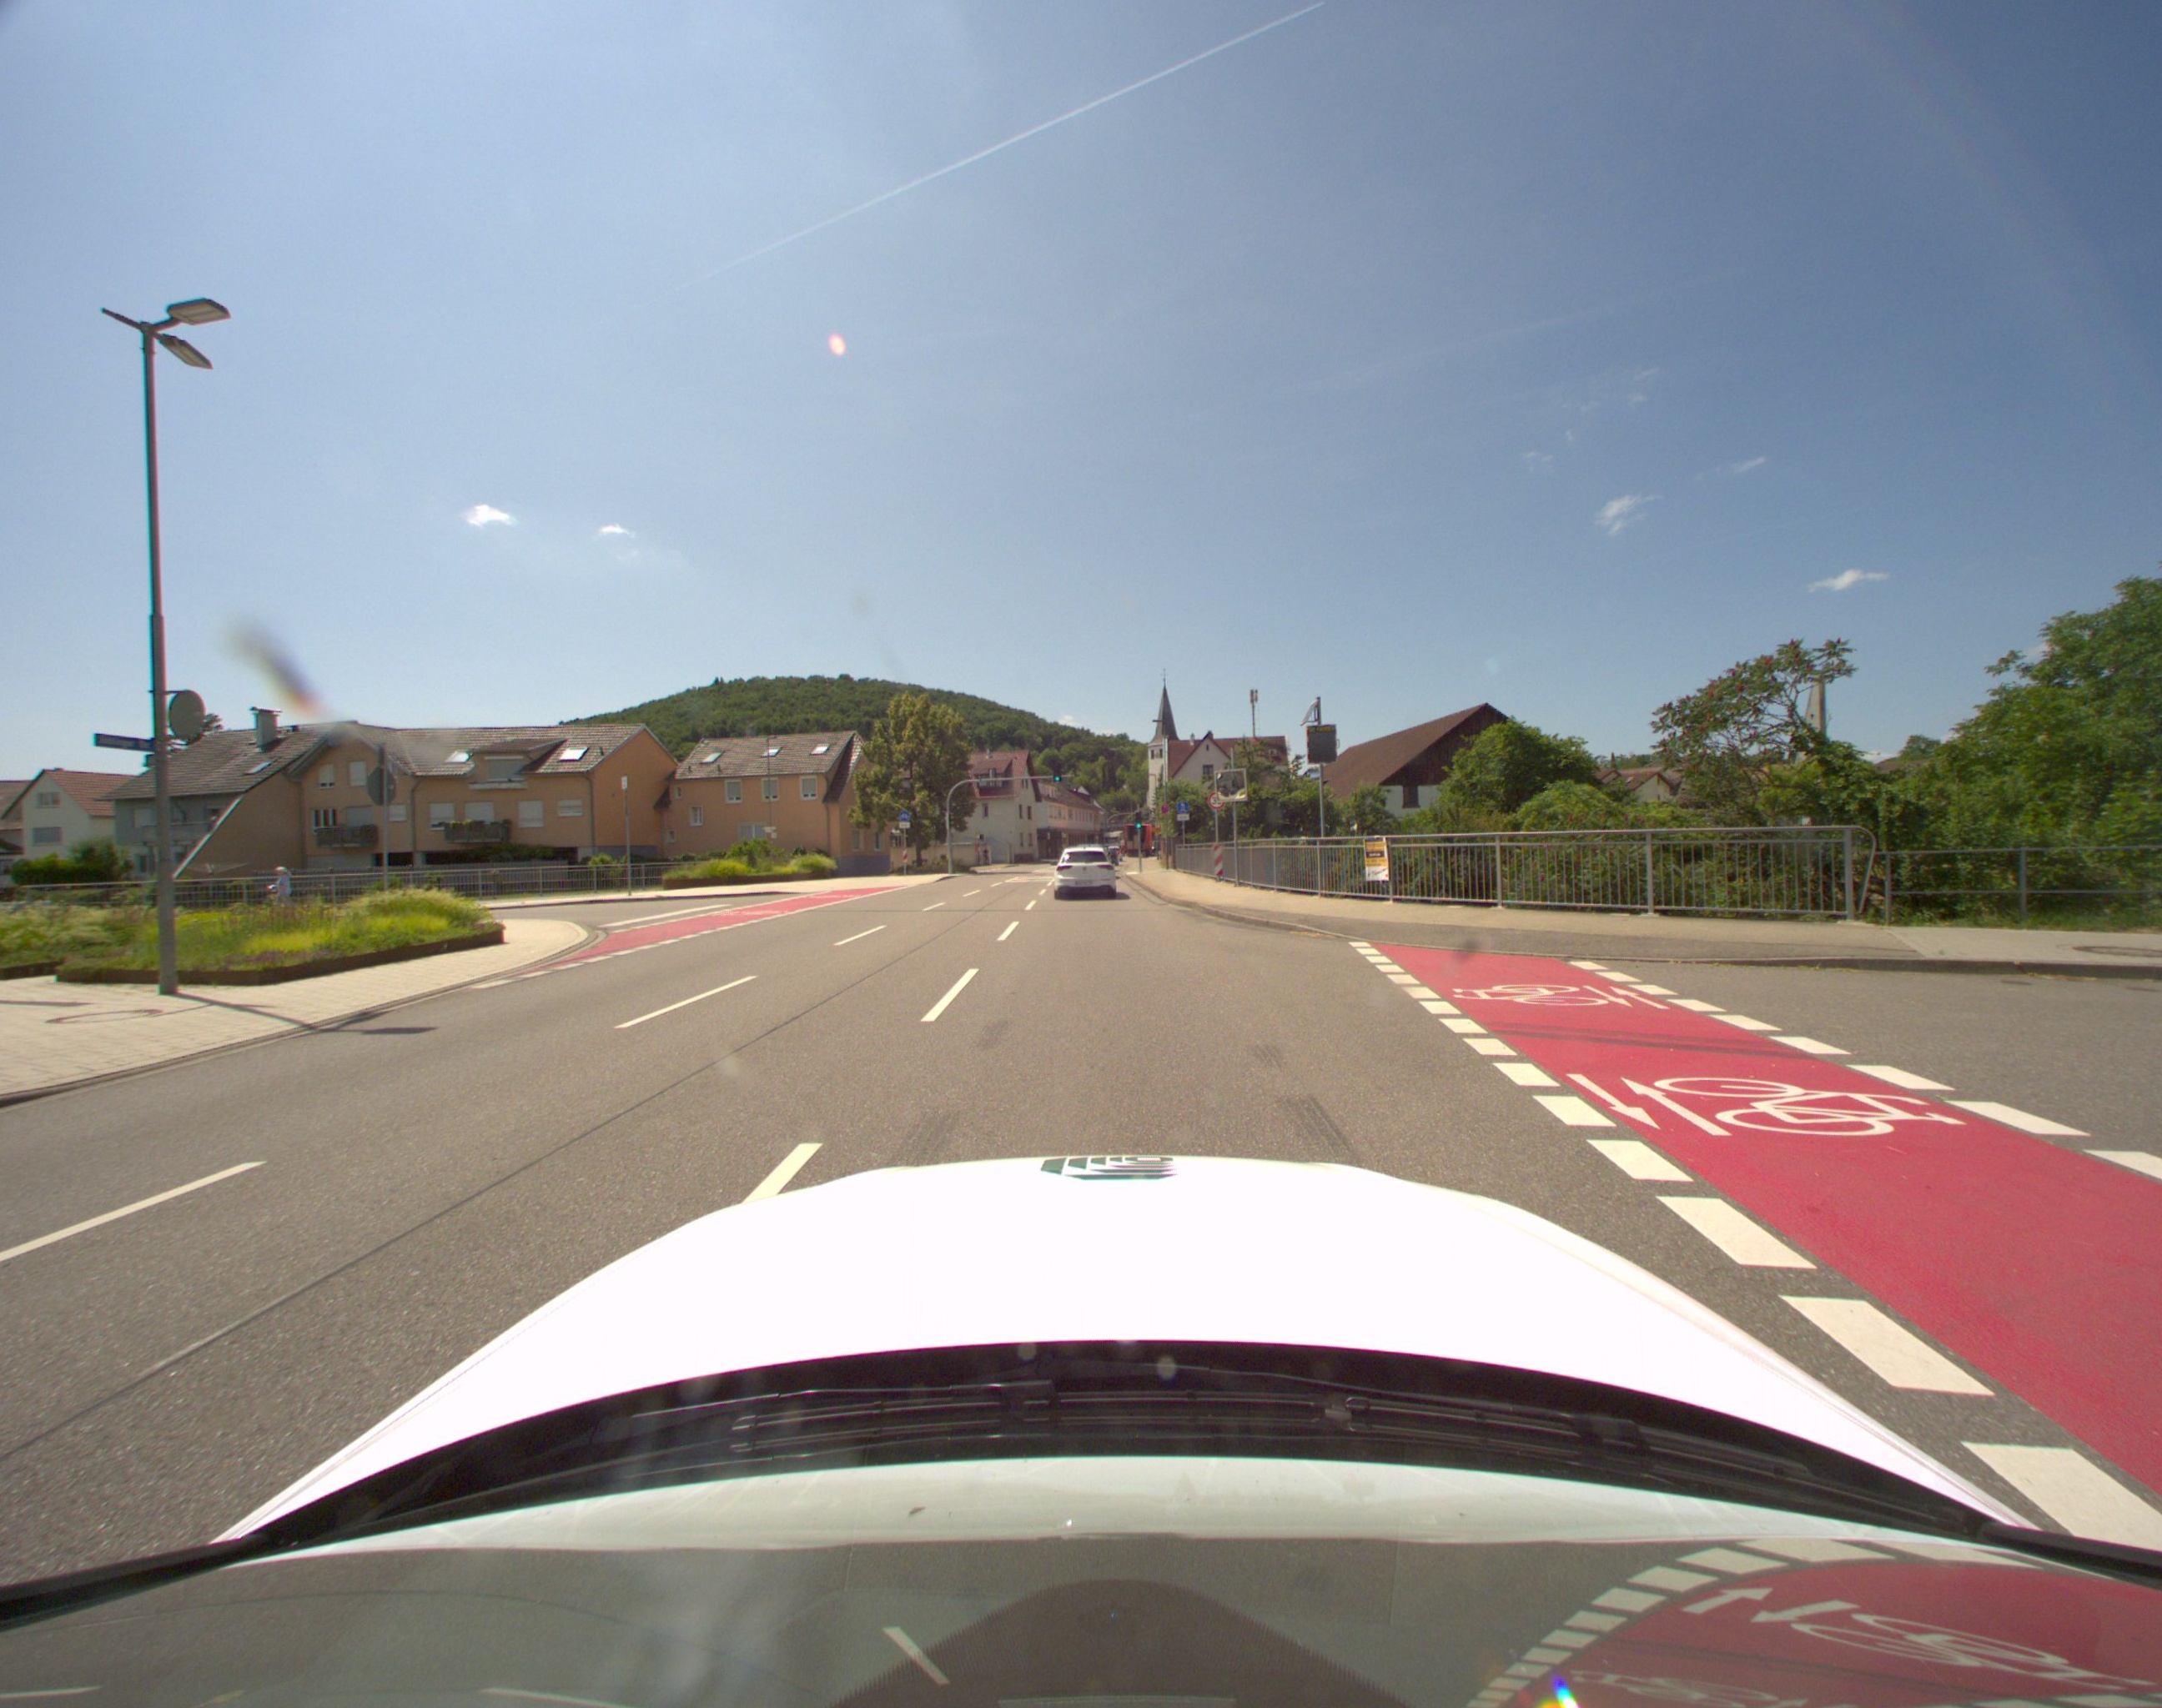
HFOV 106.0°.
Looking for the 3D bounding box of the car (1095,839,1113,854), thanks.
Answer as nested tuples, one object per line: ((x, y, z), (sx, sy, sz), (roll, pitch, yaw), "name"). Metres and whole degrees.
((2.654, -0.851, 93.230), (1.807, 1.519, 4.005), (-3, 0, 4), "car")

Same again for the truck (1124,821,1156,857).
((7.457, -1.785, 102.104), (3.349, 4.170, 9.536), (-3, 0, 6), "truck")

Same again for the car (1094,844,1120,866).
((2.122, 0.107, 65.084), (1.807, 1.628, 4.005), (-3, 0, 4), "car")

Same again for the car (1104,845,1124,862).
((3.345, -0.051, 81.763), (1.807, 1.519, 4.005), (-3, 0, 4), "car")

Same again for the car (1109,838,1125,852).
((4.938, -1.232, 112.610), (1.985, 1.705, 4.317), (-3, 0, 4), "car")

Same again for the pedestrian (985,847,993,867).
((-8.263, 0.288, 72.957), (0.430, 1.764, 0.560), (-2, 0, 23), "pedestrian")

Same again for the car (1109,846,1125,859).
((4.623, -0.198, 103.158), (1.807, 1.519, 4.005), (-3, 0, 4), "car")

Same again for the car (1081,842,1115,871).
((1.110, 0.155, 51.209), (1.807, 1.628, 4.005), (-3, 0, 4), "car")

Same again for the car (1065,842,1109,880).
((0.356, 0.321, 39.309), (1.807, 1.628, 4.005), (-3, 0, 4), "car")

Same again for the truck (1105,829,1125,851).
((5.211, -2.073, 124.460), (2.488, 3.235, 6.052), (-3, 0, 7), "truck")

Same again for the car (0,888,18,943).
((-31.283, 1.769, 21.211), (4.021, 1.464, 1.839), (-3, 1, -40), "car")

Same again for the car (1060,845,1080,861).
((-1.176, -0.136, 88.036), (1.807, 1.649, 4.005), (-1, 0, 4), "car")

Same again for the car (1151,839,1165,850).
((11.013, -1.339, 117.087), (1.807, 1.519, 4.005), (-3, 0, 4), "car")

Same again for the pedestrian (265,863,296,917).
((-26.486, 1.172, 26.967), (0.617, 1.748, 0.501), (-2, 0, -35), "pedestrian")

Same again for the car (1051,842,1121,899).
((0.236, 0.449, 24.131), (1.807, 1.519, 4.005), (-1, 0, 4), "car")
